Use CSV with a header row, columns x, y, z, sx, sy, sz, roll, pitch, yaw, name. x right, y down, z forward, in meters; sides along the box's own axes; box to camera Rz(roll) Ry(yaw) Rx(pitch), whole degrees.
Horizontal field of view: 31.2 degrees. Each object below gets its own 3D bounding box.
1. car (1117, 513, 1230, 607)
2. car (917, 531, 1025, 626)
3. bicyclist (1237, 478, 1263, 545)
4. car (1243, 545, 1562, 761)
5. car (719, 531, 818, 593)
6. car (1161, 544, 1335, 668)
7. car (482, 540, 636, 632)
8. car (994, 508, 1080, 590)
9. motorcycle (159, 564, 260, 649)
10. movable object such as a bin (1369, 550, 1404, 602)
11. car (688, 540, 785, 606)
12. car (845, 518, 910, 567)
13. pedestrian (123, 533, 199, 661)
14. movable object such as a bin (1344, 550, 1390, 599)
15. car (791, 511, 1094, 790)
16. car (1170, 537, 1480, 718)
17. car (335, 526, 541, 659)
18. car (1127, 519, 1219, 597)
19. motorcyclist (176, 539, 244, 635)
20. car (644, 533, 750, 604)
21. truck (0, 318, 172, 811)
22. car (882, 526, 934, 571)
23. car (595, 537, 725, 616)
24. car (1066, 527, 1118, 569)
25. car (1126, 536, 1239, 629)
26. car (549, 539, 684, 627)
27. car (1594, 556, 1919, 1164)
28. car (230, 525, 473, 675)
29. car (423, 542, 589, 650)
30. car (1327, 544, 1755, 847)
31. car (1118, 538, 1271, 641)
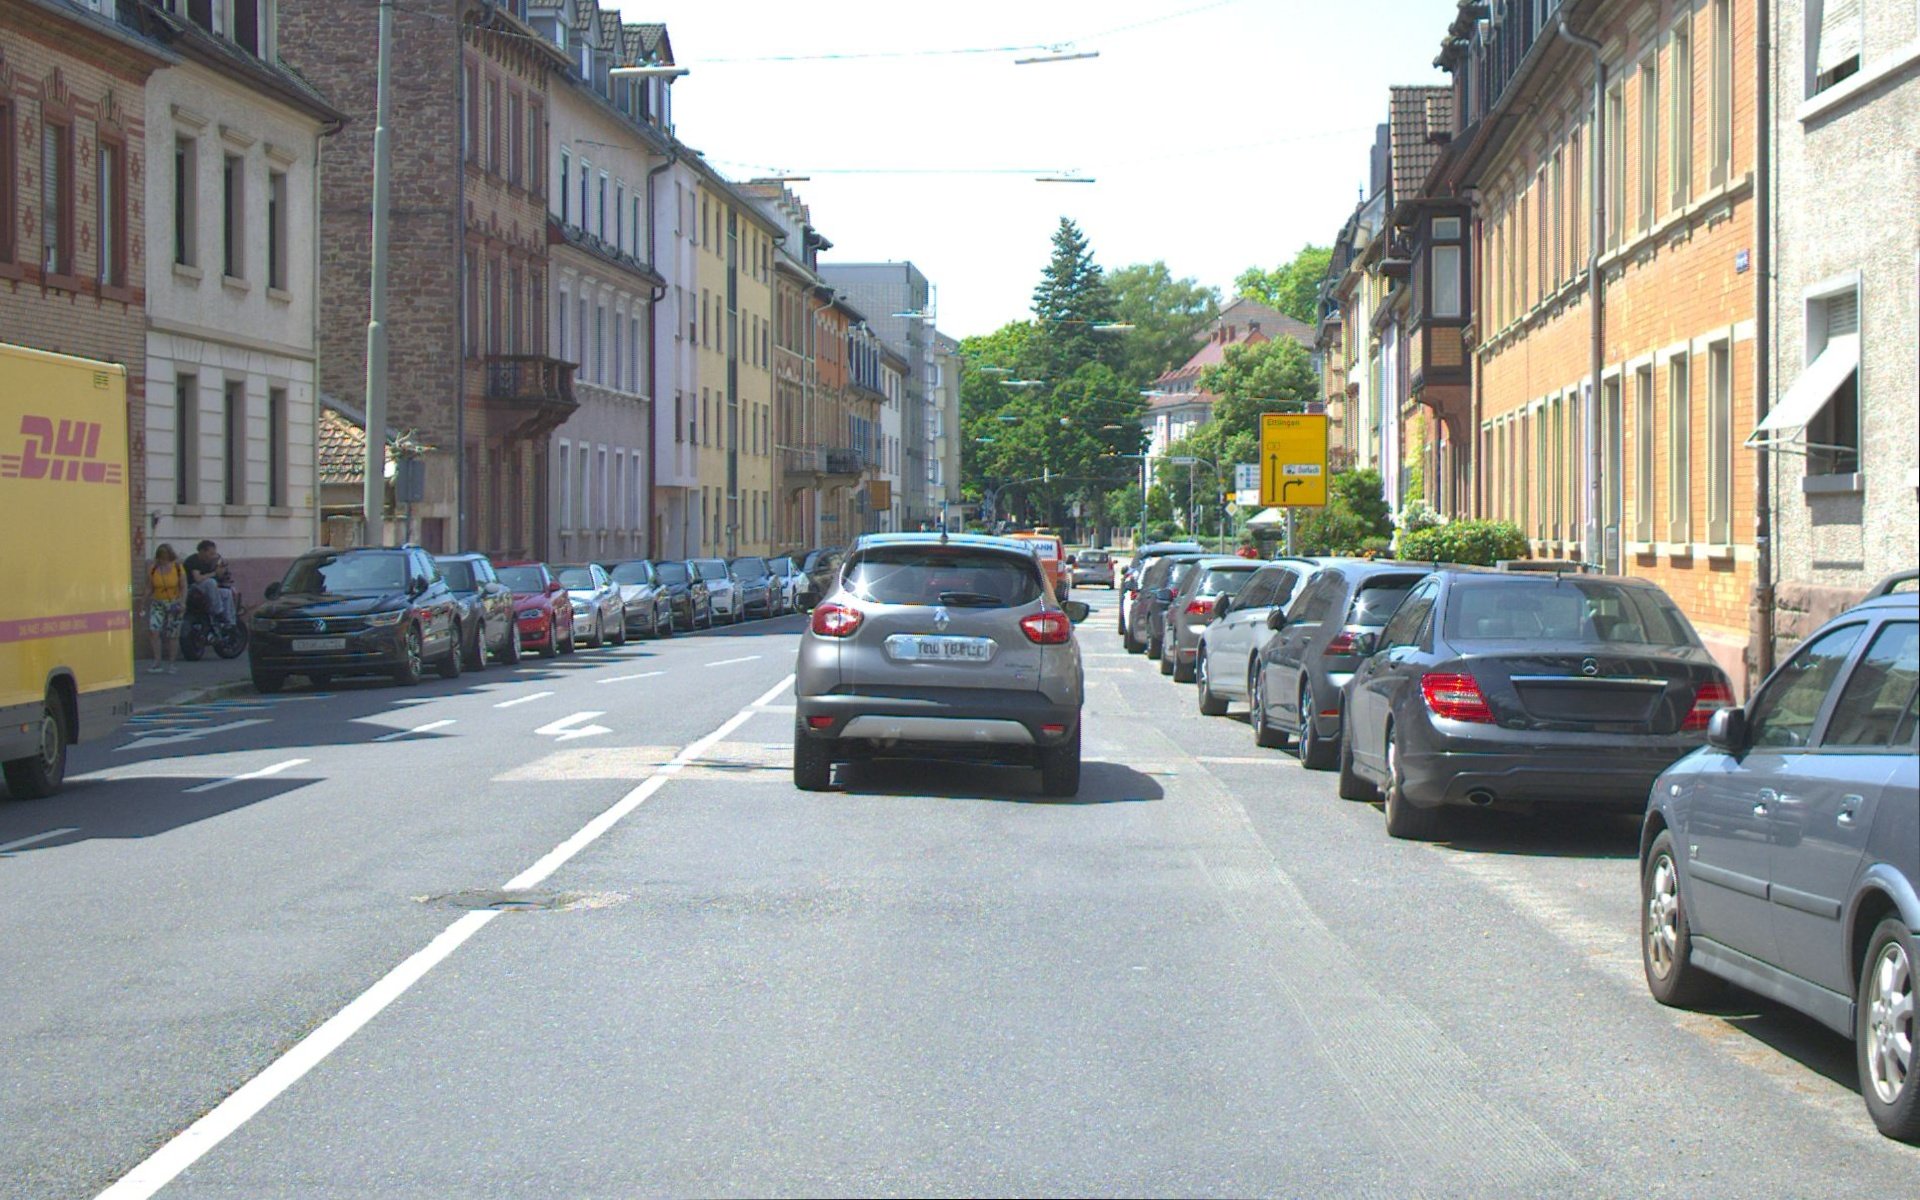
x,y,z,sx,sy,sz,roll,pitch,yaw,name
3.939,-0.754,63.841,1.994,1.656,4.625,0,1,3,car
0.229,-0.414,62.283,1.812,1.615,4.441,-1,1,2,car
6.418,-1.956,76.104,0.532,1.464,0.791,0,1,4,bicyclist
3.104,0.319,24.838,1.651,1.415,4.049,0,1,-2,car
-4.741,-0.948,85.838,1.840,1.417,4.557,-3,1,4,car
3.348,0.035,40.626,1.700,1.376,4.167,1,1,0,car
-6.616,-0.258,57.197,1.840,1.417,4.502,-2,1,2,car
1.984,-1.308,87.600,1.994,2.007,4.466,-1,1,4,car
-9.900,0.075,45.406,0.845,1.075,1.871,0,1,2,motorcycle
8.648,-0.492,69.778,0.659,1.051,0.748,0,1,4,movable object such as a bin
-5.167,-0.649,80.074,1.840,1.417,4.646,-2,1,1,car
-2.827,-2.008,119.211,1.905,1.614,4.302,-2,1,3,car
-9.536,-0.047,41.066,0.608,1.490,0.971,1,1,3,pedestrian
7.553,-0.476,63.770,0.788,0.904,0.539,-1,1,0,movable object such as a bin
-0.202,0.251,22.141,1.744,1.611,4.001,1,1,-3,car
3.113,0.192,30.283,1.853,1.458,4.551,1,1,-5,car
-6.922,-0.126,46.048,1.840,1.591,4.502,-3,1,2,car
5.020,-1.029,81.561,1.860,1.742,4.618,2,1,0,car
-9.861,-0.174,45.211,0.718,1.244,0.712,0,1,2,motorcyclist
-5.643,-0.695,74.157,1.840,1.417,4.502,-2,1,1,car
-6.500,-0.173,19.082,2.225,2.761,7.564,-2,1,2,truck
-1.959,-1.973,130.871,1.904,1.614,4.303,-2,1,0,car
-5.966,-0.500,68.912,1.840,1.417,4.502,-4,1,4,car
4.907,-1.941,127.459,1.764,1.554,3.942,0,1,5,car
3.515,-0.305,54.718,1.716,1.409,4.589,0,1,3,car
-6.261,-0.326,63.052,1.840,1.417,4.502,-4,1,1,car
3.148,0.635,10.079,1.677,1.449,4.143,1,1,-1,car
-7.022,-0.029,40.118,1.840,1.591,4.502,-2,1,2,car
-6.619,-0.094,50.538,1.839,1.417,4.503,-3,1,-1,car
3.093,0.433,19.135,1.711,1.468,4.438,0,1,1,car
3.324,-0.178,49.467,1.648,1.409,4.502,1,1,-3,car
